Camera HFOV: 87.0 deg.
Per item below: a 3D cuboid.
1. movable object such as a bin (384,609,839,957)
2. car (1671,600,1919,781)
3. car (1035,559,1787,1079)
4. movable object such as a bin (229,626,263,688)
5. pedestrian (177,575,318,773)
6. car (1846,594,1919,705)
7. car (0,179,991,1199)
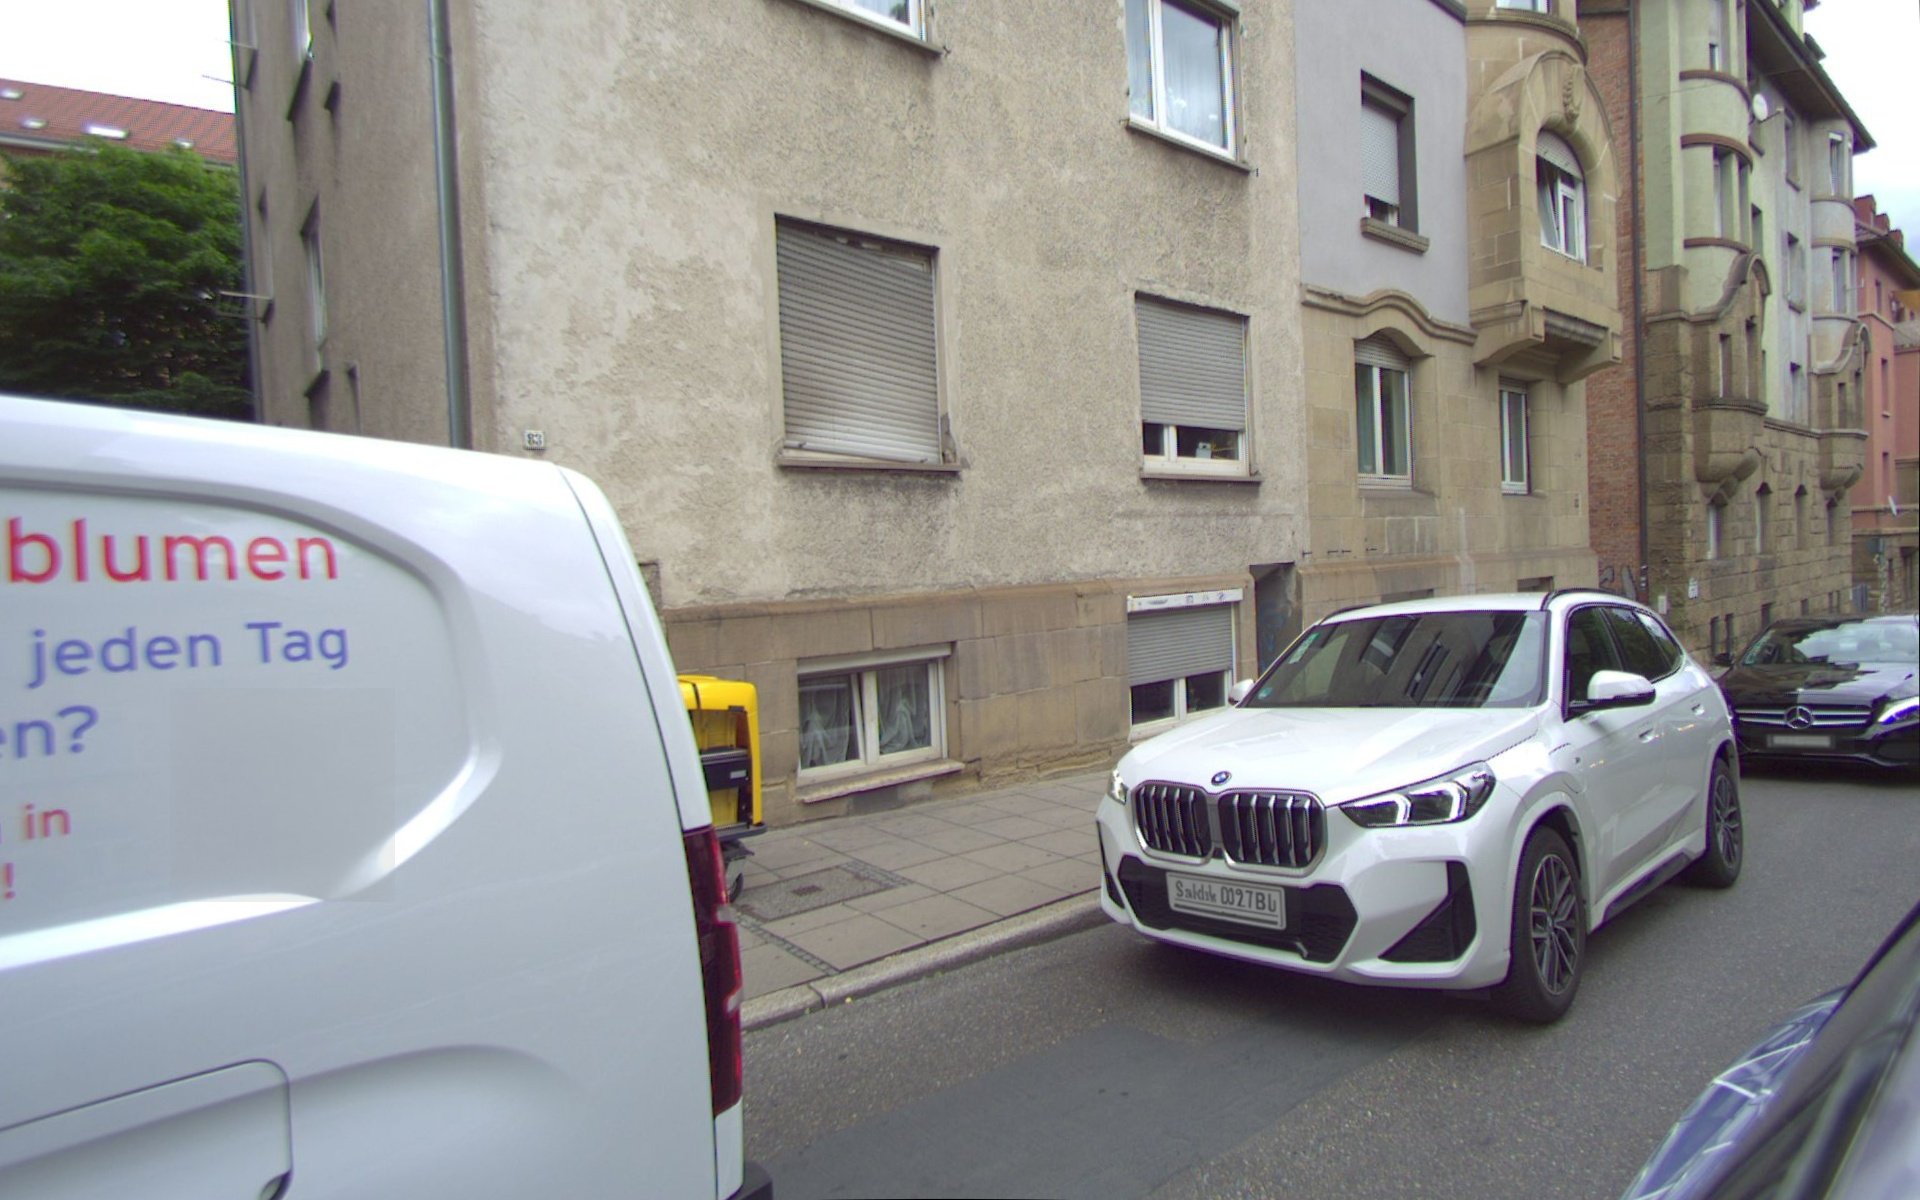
[{"bbox_3d":[-1.805,0.779,5.382,1.979,1.391,1.223,-1,2,-43],"label":"movable object such as a bin"},{"bbox_3d":[8.662,0.740,9.805,4.133,1.395,1.882,-1,-3,-41],"label":"car"},{"bbox_3d":[2.577,0.703,5.220,4.276,1.576,1.857,-1,-4,-42],"label":"car"},{"bbox_3d":[-10.996,0.871,15.587,0.405,0.923,0.340,0,0,-40],"label":"movable object such as a bin"},{"bbox_3d":[-6.568,0.635,9.338,0.808,1.666,0.773,0,6,42],"label":"pedestrian"},{"bbox_3d":[15.071,0.642,15.187,4.226,1.534,1.935,-1,-3,-40],"label":"car"},{"bbox_3d":[-2.316,0.568,0.914,4.597,1.798,1.977,-1,-3,-42],"label":"car"}]
